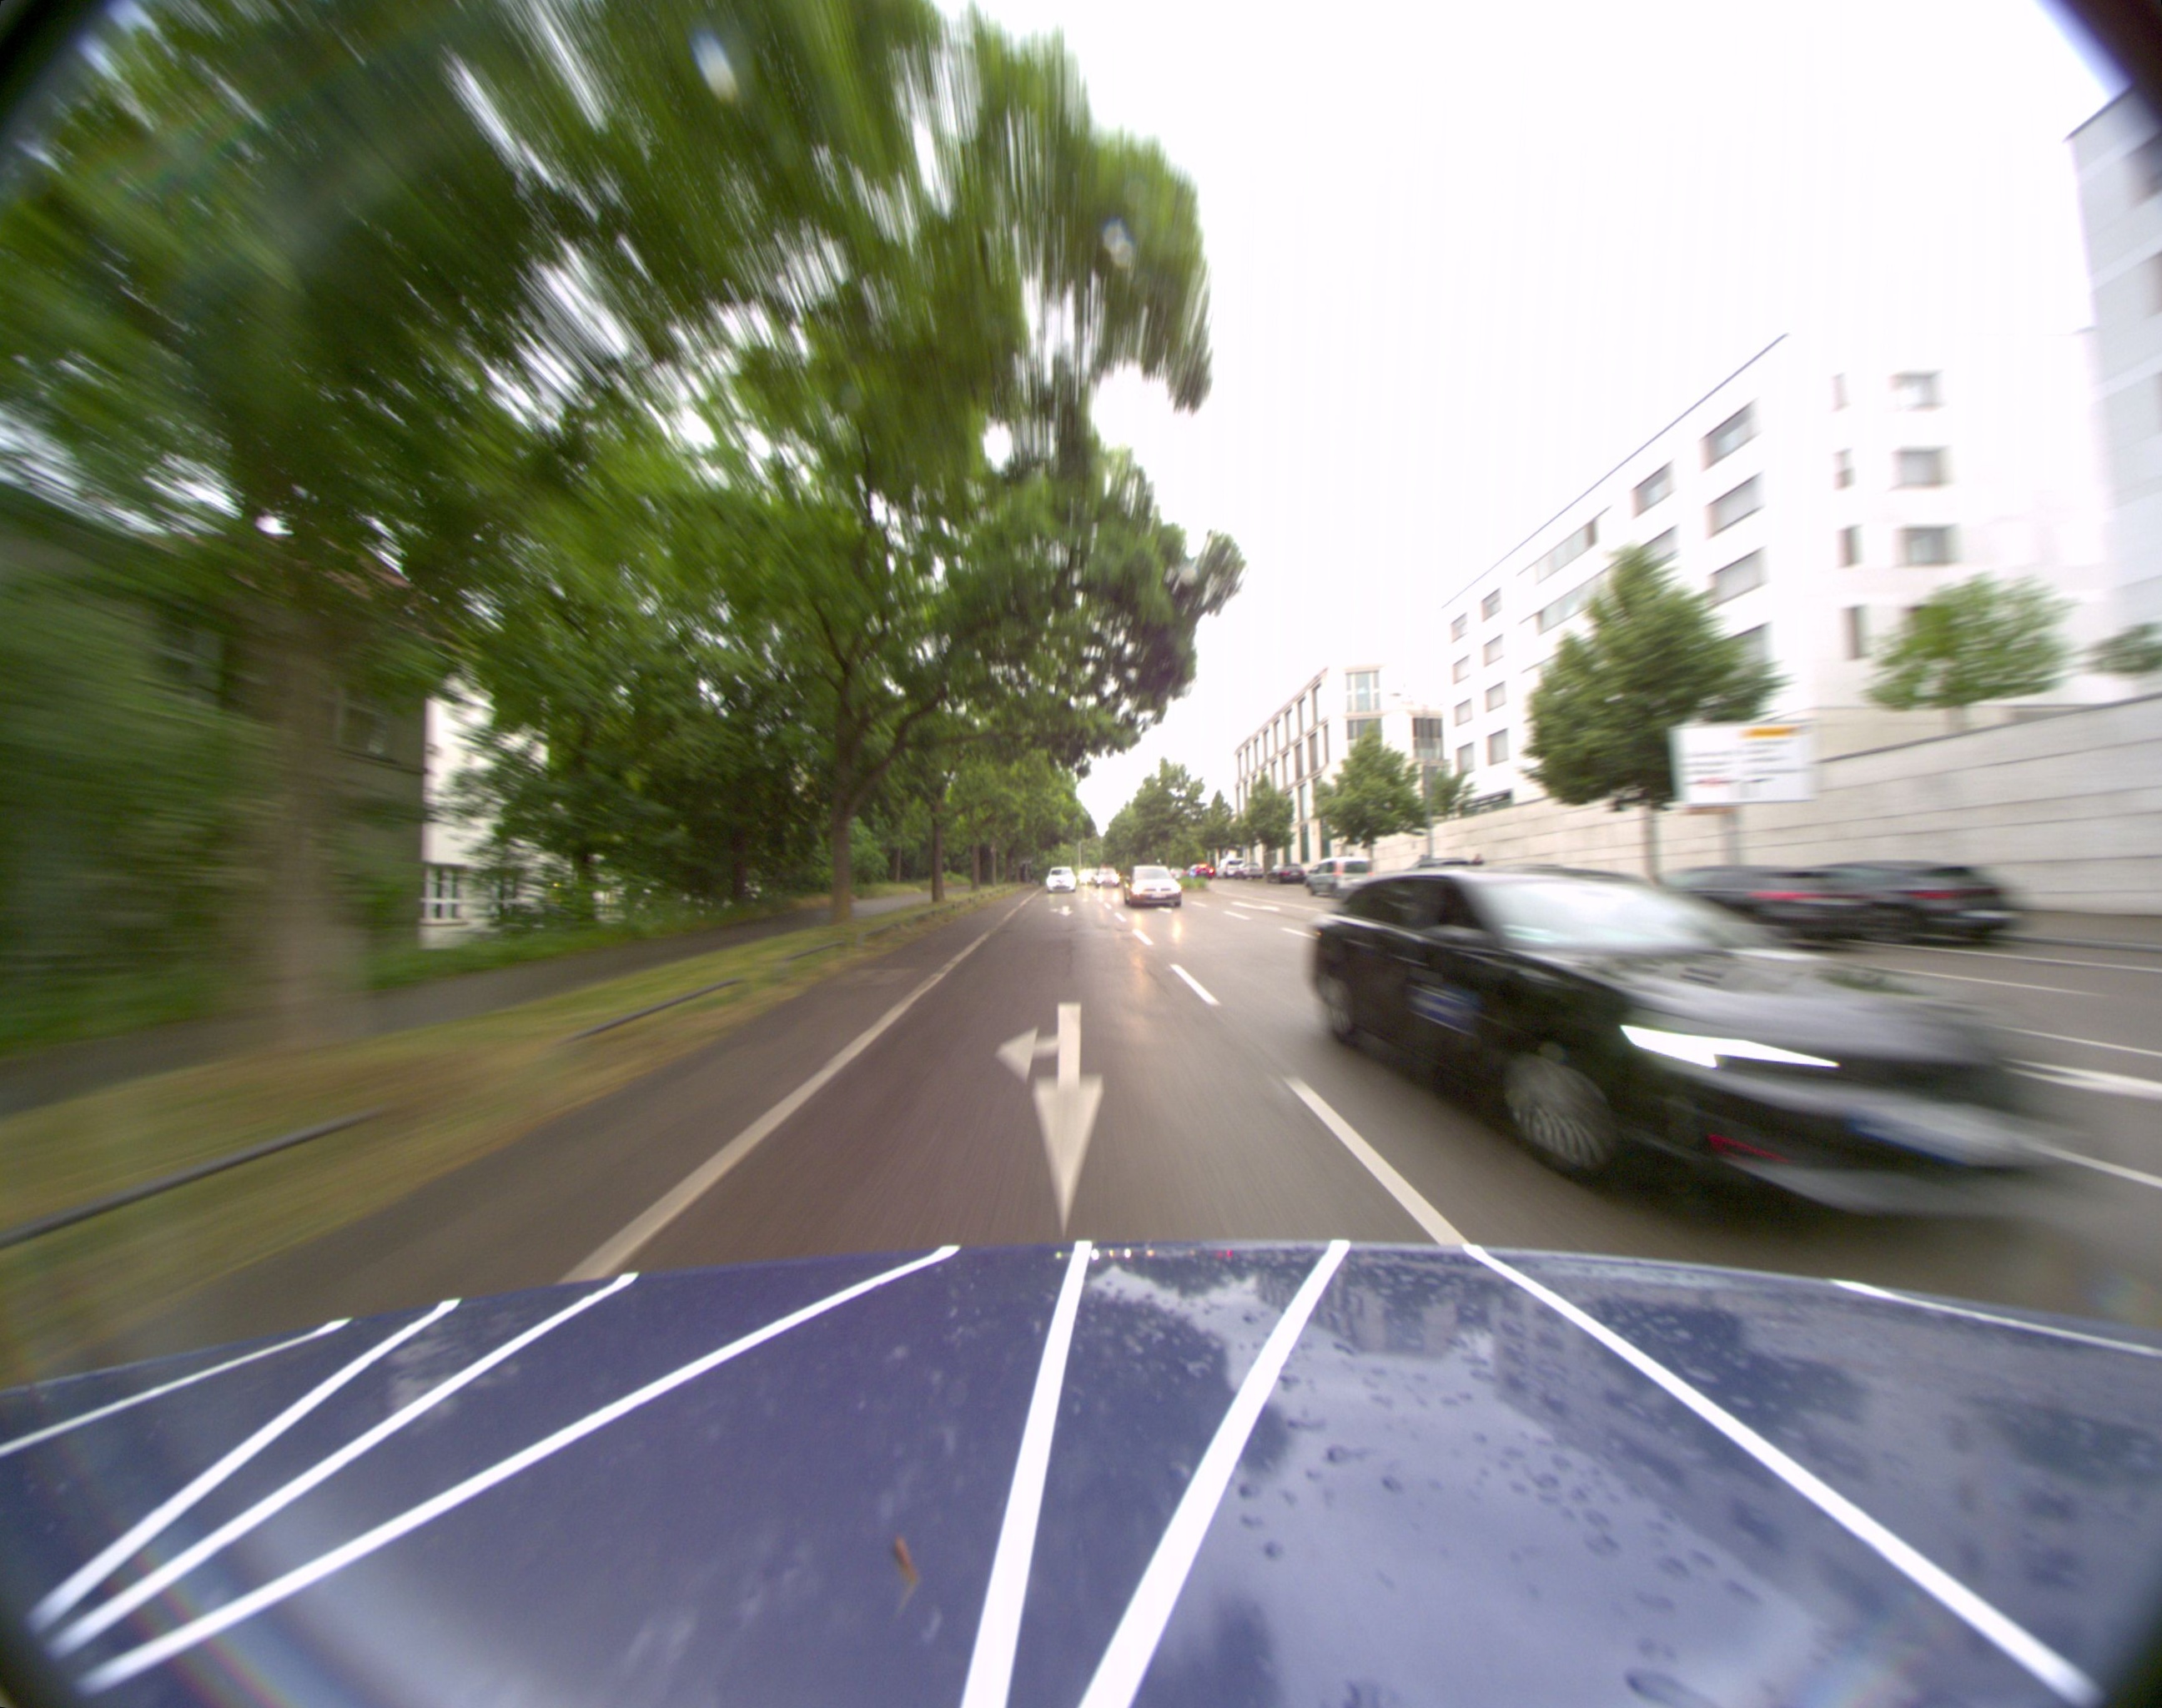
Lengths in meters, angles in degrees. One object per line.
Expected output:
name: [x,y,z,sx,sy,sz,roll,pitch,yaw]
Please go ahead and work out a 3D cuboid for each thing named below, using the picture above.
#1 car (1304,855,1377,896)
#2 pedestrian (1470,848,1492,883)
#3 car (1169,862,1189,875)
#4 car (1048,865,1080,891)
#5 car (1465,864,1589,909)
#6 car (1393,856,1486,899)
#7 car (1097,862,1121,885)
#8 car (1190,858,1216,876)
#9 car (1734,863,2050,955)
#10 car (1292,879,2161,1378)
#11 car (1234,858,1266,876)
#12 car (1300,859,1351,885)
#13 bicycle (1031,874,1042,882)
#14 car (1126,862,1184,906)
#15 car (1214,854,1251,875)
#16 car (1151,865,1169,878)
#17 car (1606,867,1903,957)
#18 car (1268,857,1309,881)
car: [11.695,0.933,34.565,1.714,1.736,4.337,0,-1,-2]
pedestrian: [20.698,0.607,39.335,0.720,1.764,0.691,-1,-1,-2]
car: [11.186,1.676,87.020,1.645,1.402,3.998,0,-3,-1]
car: [-1.075,1.471,46.703,1.646,1.511,3.578,-2,-1,-6]
car: [14.775,1.035,25.482,1.699,1.352,4.163,-1,-1,0]
car: [14.620,0.905,31.266,1.707,1.611,4.361,-1,0,-1]
car: [2.089,1.454,56.639,1.670,1.520,3.660,-2,-3,3]
car: [11.362,1.177,71.074,1.699,1.572,4.017,-3,-1,-1]
car: [14.885,0.914,14.321,1.683,1.418,3.965,-2,0,0]
car: [3.007,0.957,4.750,1.805,1.422,4.518,-1,0,-4]
car: [14.101,1.101,63.679,1.699,1.376,3.698,-2,-1,-2]
car: [14.450,1.065,45.103,1.699,1.435,3.860,-3,-1,0]
bicycle: [-6.444,3.457,110.806,1.490,1.124,0.556,2,-2,-8]
car: [2.678,1.098,27.638,1.904,1.430,4.003,-2,-2,5]
car: [14.106,1.030,71.116,2.128,1.804,5.260,-2,-1,-2]
car: [10.554,2.319,101.493,1.834,1.591,4.675,-1,-2,-1]
car: [12.134,0.954,14.148,1.775,1.373,4.190,1,0,-1]
car: [14.354,1.009,52.697,1.699,1.572,4.017,-2,0,-1]
